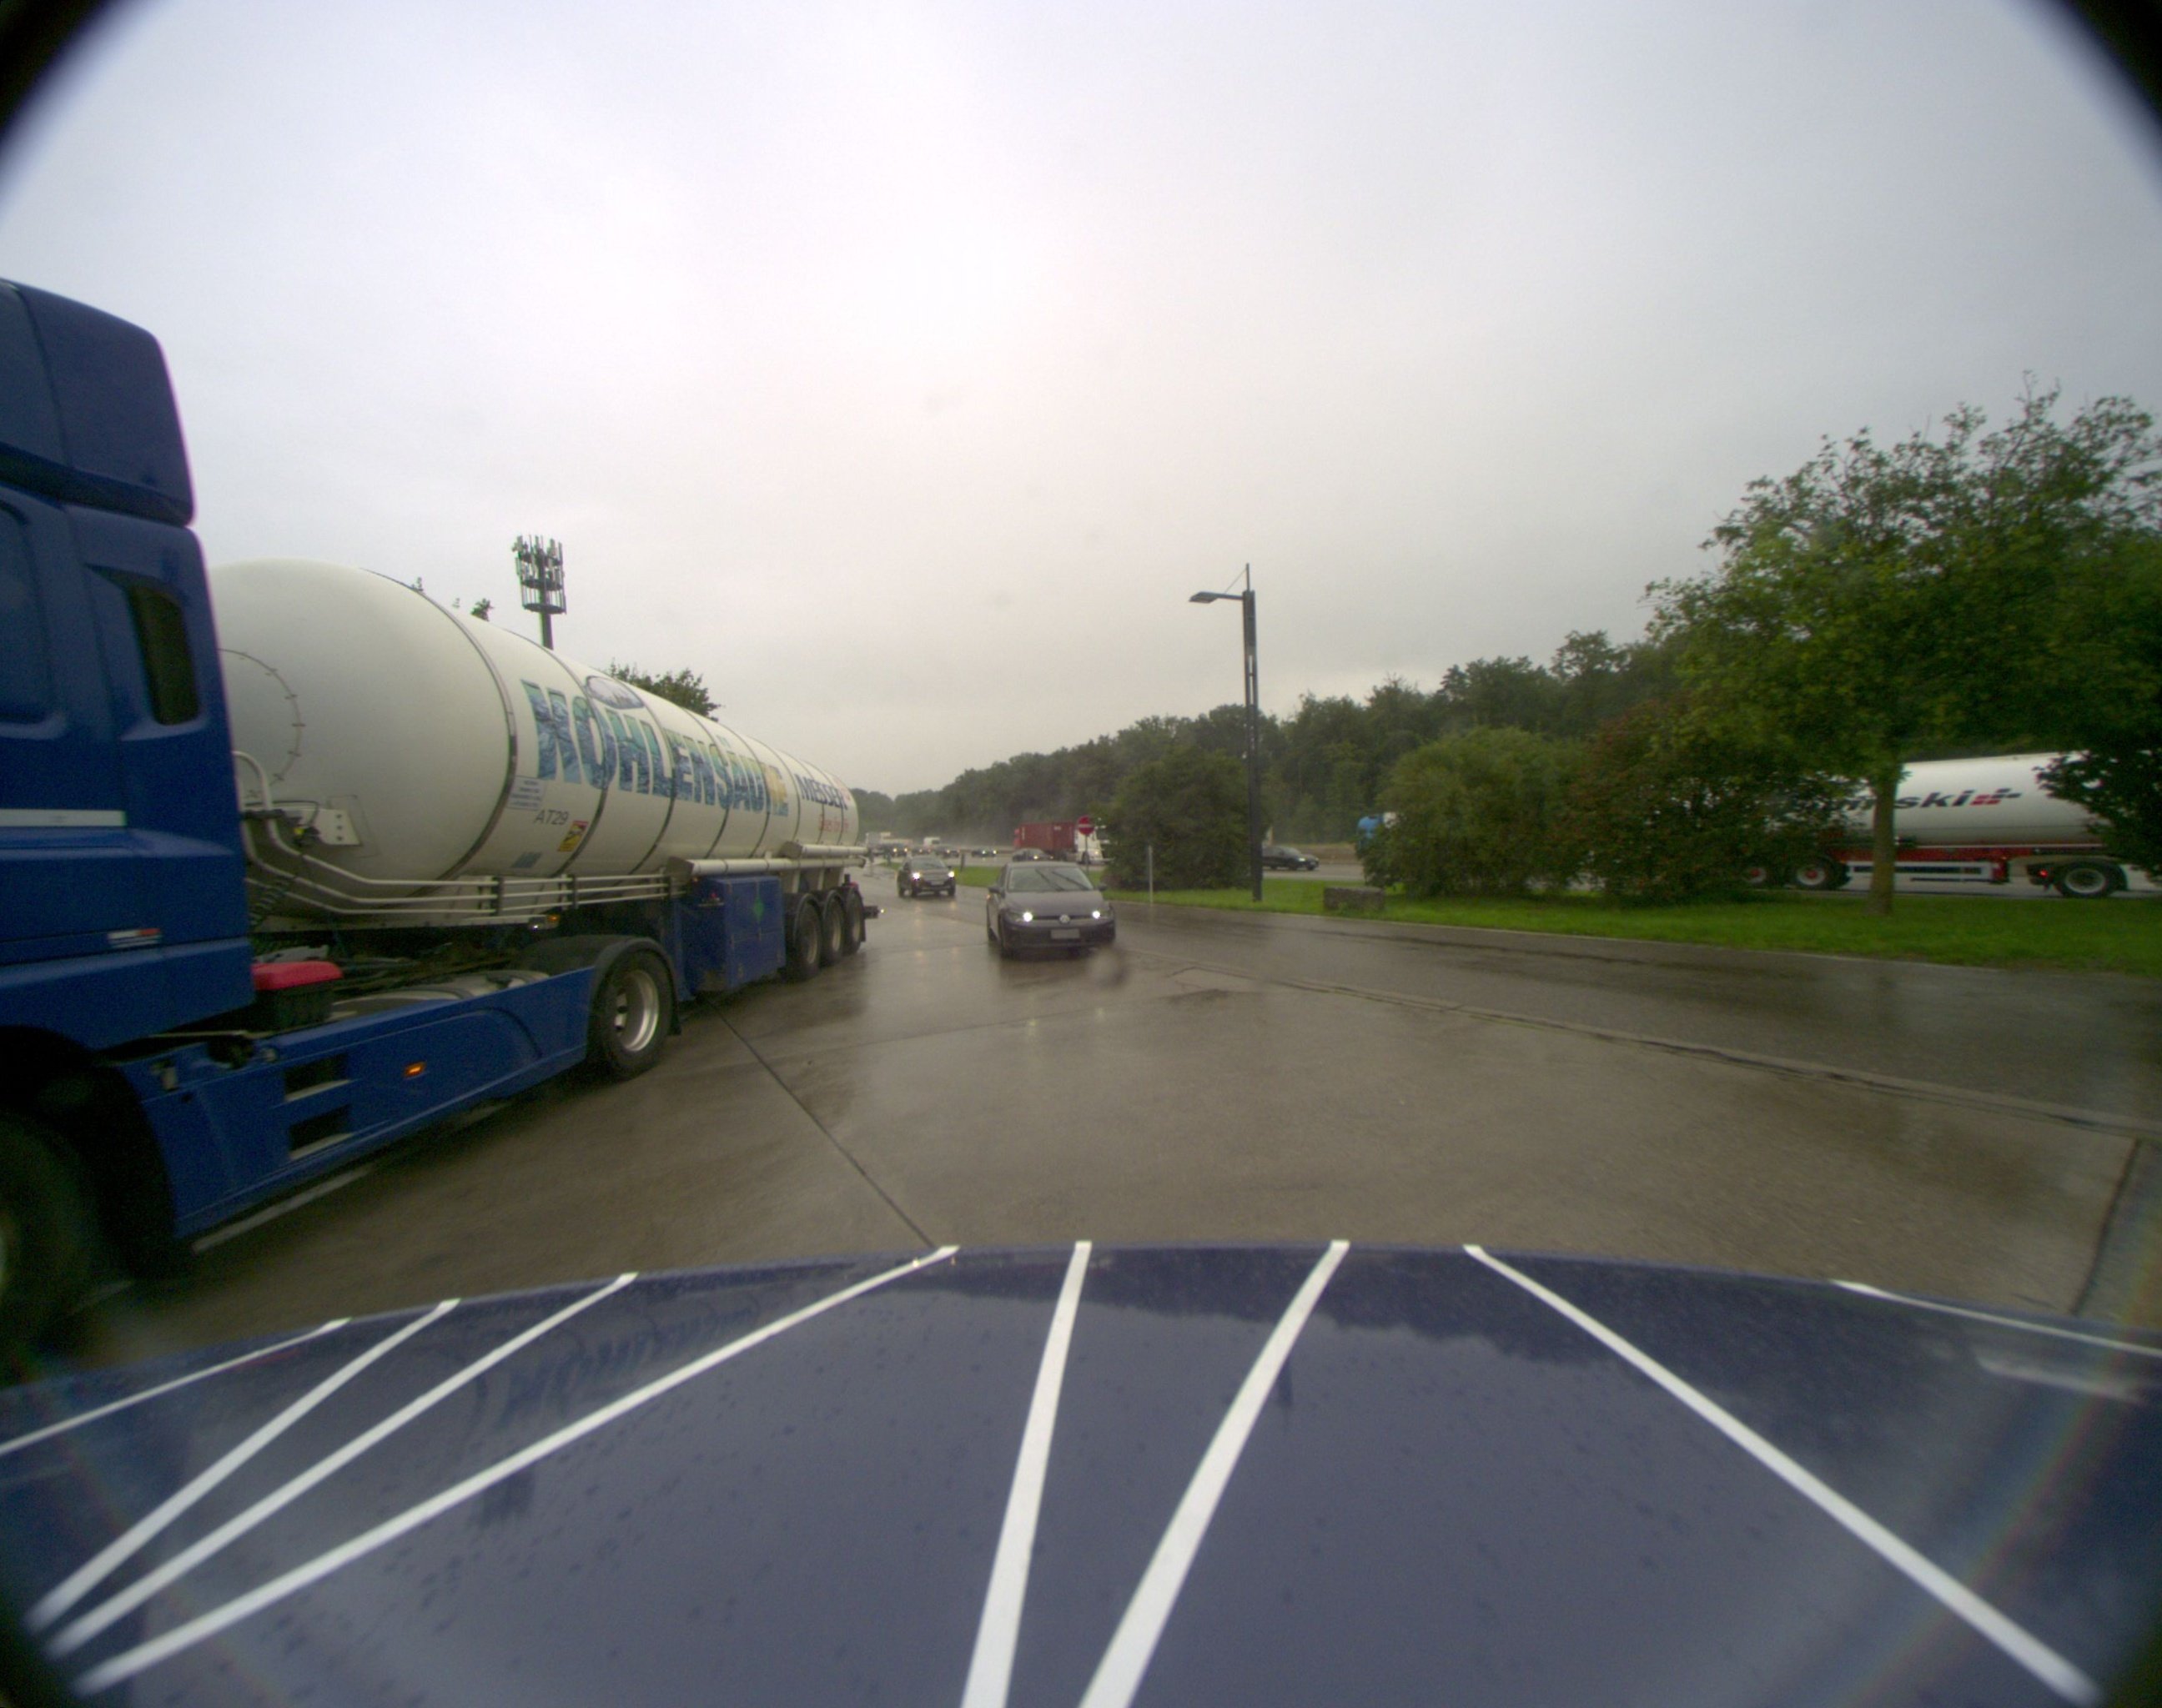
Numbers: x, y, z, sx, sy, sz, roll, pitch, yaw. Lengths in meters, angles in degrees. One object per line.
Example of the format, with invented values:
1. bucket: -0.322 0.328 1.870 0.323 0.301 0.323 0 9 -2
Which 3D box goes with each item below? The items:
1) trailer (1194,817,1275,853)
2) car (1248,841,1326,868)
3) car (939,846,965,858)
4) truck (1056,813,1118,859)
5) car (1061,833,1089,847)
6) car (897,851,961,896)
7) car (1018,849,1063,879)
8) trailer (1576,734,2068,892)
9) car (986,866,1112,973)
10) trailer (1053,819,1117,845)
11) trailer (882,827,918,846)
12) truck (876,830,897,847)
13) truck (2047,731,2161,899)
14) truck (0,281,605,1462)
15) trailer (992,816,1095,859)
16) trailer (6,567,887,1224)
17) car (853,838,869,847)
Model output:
1. trailer: 17.388 -2.066 87.111 2.467 3.594 10.715 -7 3 -30
2. car: 12.684 0.043 47.070 2.004 1.568 4.491 0 0 -33
3. car: -16.908 -0.258 99.562 1.792 1.550 4.088 -3 1 -35
4. truck: 0.486 -1.533 65.344 2.701 3.637 5.311 -6 5 -31
5. car: -0.845 -2.024 107.884 2.003 1.806 4.403 -5 3 -30
6. car: -6.475 0.766 32.099 1.813 1.533 3.991 -6 4 -22
7. car: -3.414 0.809 63.160 1.921 2.004 3.988 -9 7 -31
8. trailer: 22.711 -1.084 24.516 2.776 4.003 11.012 -2 1 -36
9. car: -0.371 0.964 12.857 1.669 1.394 4.262 -2 0 3
10. trailer: 0.408 -3.187 113.478 2.200 3.479 13.098 -7 5 -34
11. trailer: -41.341 -3.896 172.928 2.627 3.660 14.636 -7 3 -33
12. truck: -46.141 -3.759 180.147 2.634 3.650 5.977 -7 3 -33
13. truck: 27.739 -0.938 17.584 2.764 3.985 6.490 -1 1 -35
14. truck: -4.267 0.045 2.763 2.058 3.511 4.744 -2 1 -3
15. trailer: -3.986 -1.589 72.599 2.695 3.487 15.085 -6 4 -31
16. trailer: -4.433 0.139 8.952 1.986 3.206 10.316 -2 1 -3
17. car: -44.276 -2.317 152.628 2.003 1.802 3.990 -2 1 -32
